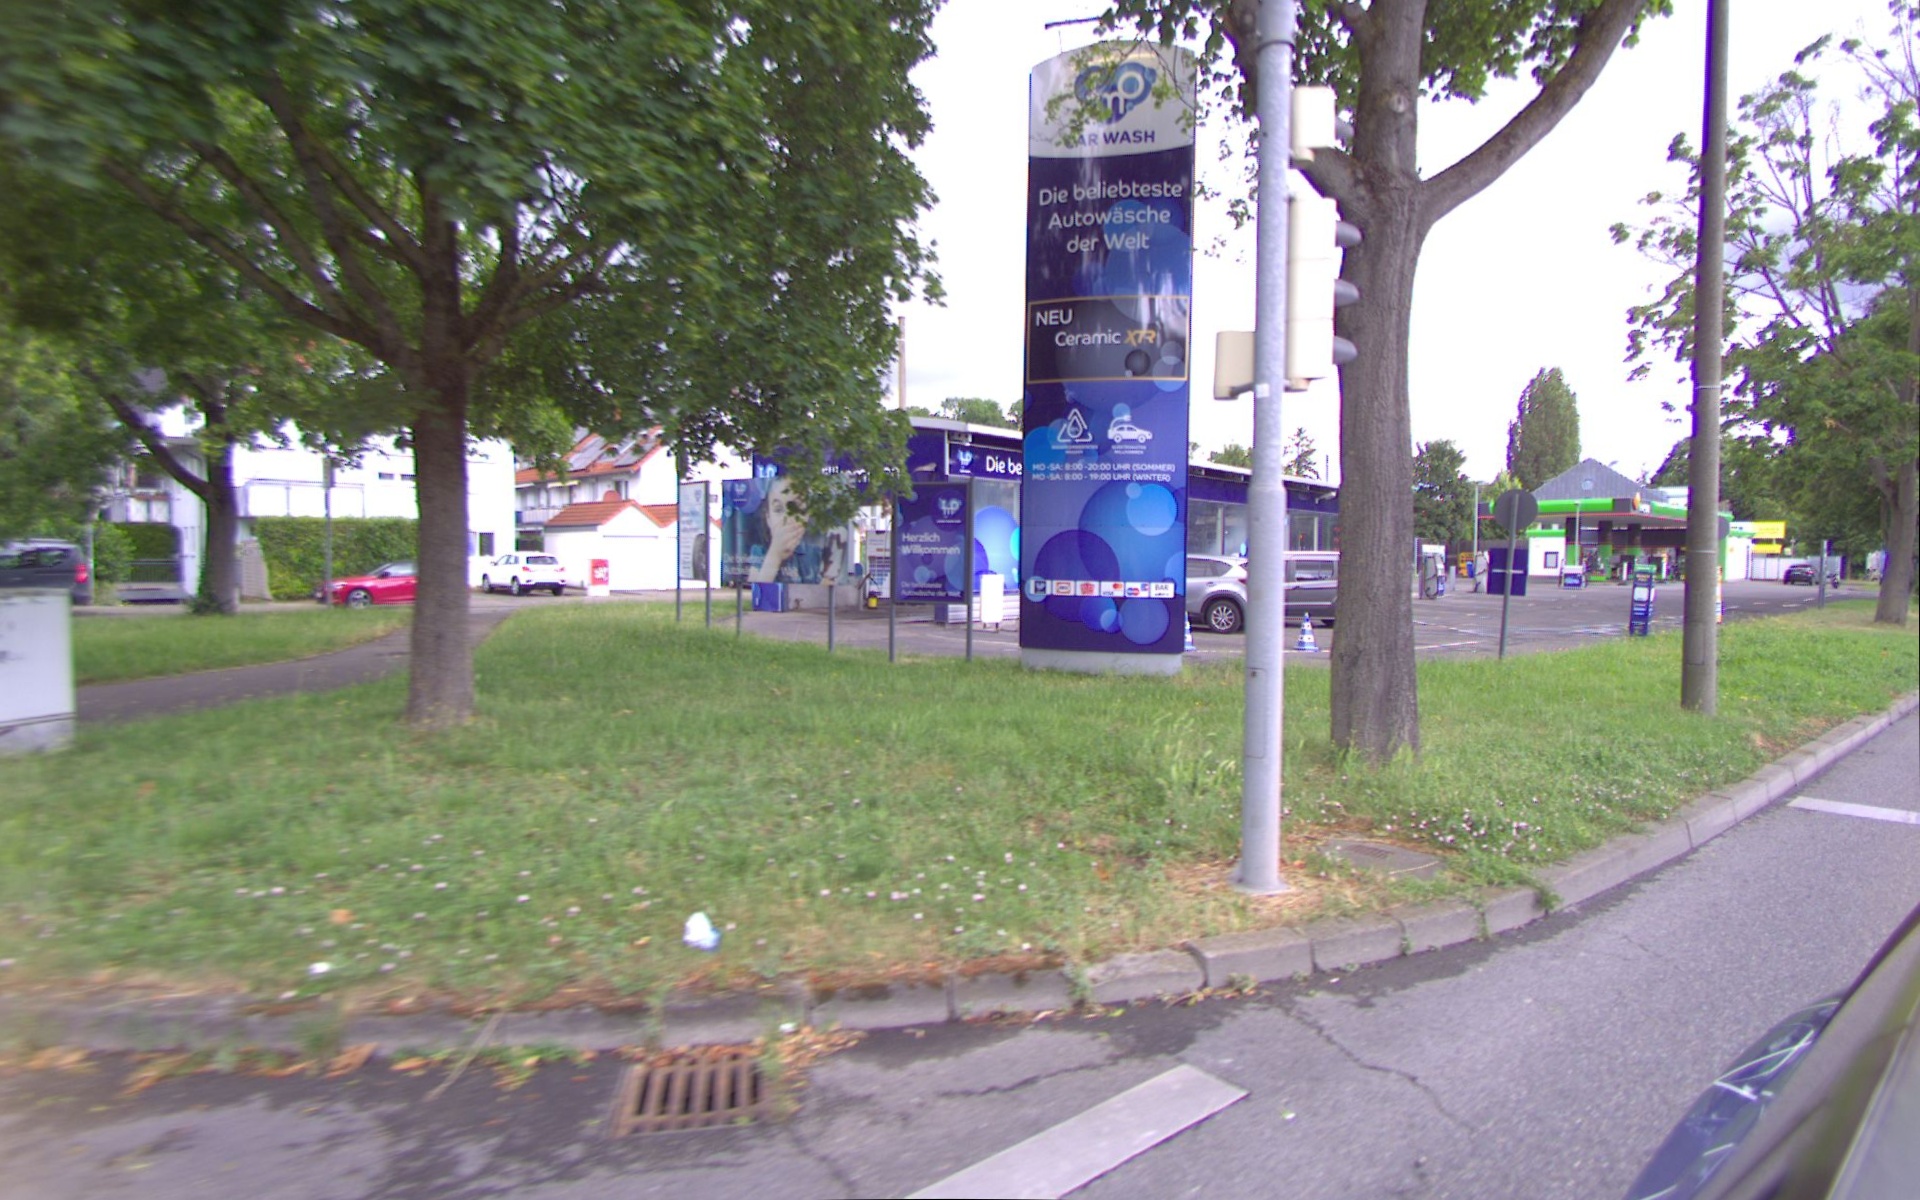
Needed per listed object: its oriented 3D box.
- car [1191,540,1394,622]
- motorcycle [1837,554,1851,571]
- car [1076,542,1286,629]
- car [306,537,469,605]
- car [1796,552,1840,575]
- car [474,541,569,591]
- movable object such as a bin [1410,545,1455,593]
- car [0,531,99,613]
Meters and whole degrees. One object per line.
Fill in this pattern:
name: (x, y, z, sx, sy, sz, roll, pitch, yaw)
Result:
car: (7.913, -0.503, 24.446, 4.307, 1.843, 1.750, 1, 3, 6)
motorcycle: (66.090, -2.797, 75.670, 0.702, 1.201, 2.353, 3, 4, 41)
car: (4.836, -0.378, 22.292, 4.176, 1.718, 1.822, 3, 3, 29)
car: (-16.730, -0.864, 29.688, 1.616, 1.865, 3.861, -1, 1, 44)
car: (68.690, -2.939, 80.997, 4.253, 1.658, 1.998, -2, 6, -42)
car: (-16.577, -1.256, 38.209, 3.798, 1.716, 1.891, -1, 1, 42)
movable object such as a bin: (18.669, -1.255, 39.980, 1.159, 1.840, 1.433, 3, 4, 44)
car: (-22.751, -0.620, 23.254, 1.717, 1.865, 4.340, -1, 1, 43)
